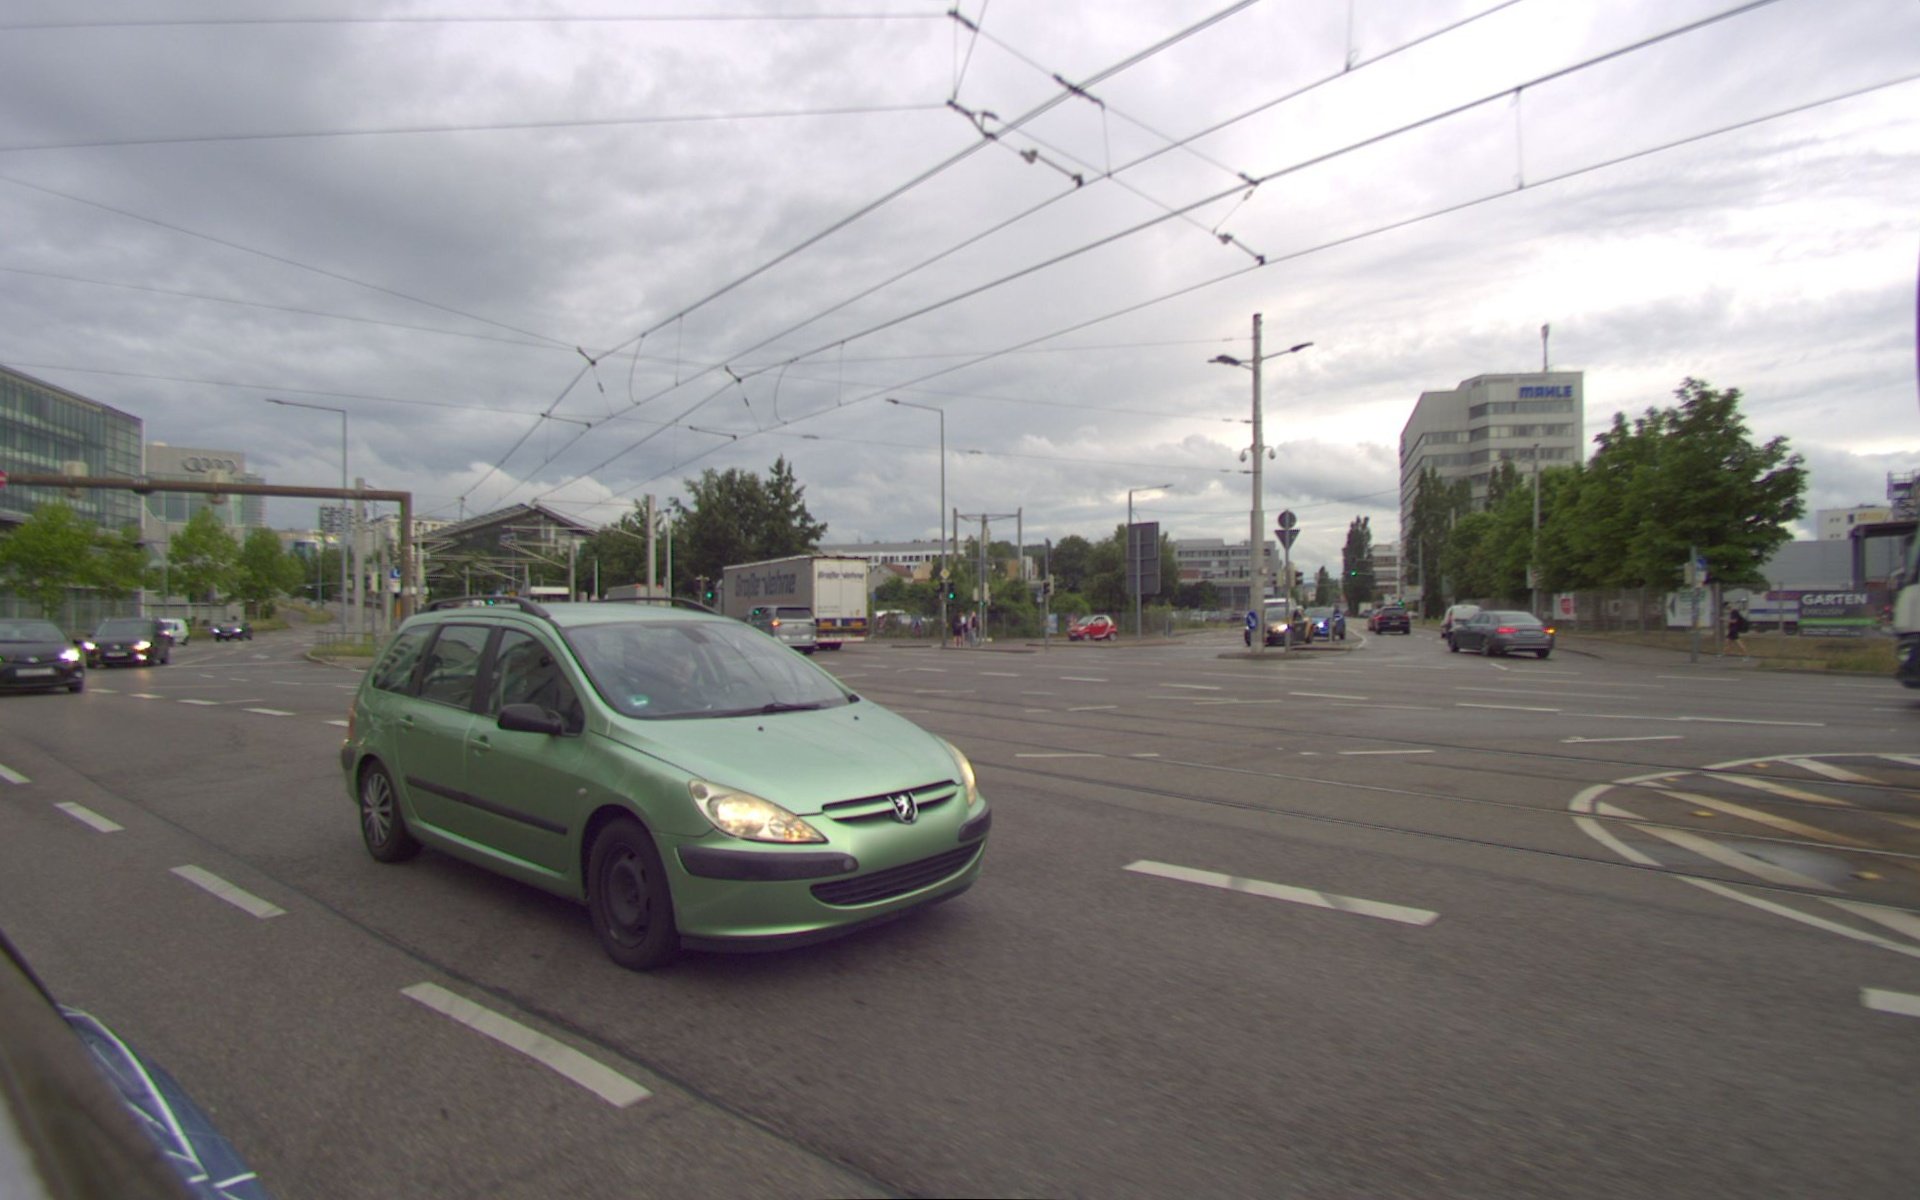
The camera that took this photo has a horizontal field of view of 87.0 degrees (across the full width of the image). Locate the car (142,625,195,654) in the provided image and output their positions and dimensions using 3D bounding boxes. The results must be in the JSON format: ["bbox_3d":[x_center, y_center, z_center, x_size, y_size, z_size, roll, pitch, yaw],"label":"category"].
[{"bbox_3d":[-52.689,2.604,67.432,1.799,1.723,4.167,-2,1,-24],"label":"car"}]

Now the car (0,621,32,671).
[{"bbox_3d":[-30.014,1.412,30.940,1.712,1.489,4.011,-2,0,-33],"label":"car"}]

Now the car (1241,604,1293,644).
[{"bbox_3d":[19.355,1.468,63.670,2.279,2.301,4.701,-2,1,28],"label":"car"}]

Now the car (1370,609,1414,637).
[{"bbox_3d":[25.967,1.373,60.926,1.984,1.621,4.428,-1,-1,18],"label":"car"}]

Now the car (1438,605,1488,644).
[{"bbox_3d":[24.661,1.178,49.725,1.844,1.698,3.972,-2,1,22],"label":"car"}]

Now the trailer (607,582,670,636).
[{"bbox_3d":[-26.457,0.855,82.782,2.755,4.139,11.478,1,-2,-29],"label":"trailer"}]

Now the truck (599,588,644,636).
[{"bbox_3d":[-29.751,1.071,88.837,2.792,4.026,6.005,0,-2,-28],"label":"truck"}]

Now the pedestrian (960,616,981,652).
[{"bbox_3d":[0.494,1.610,48.109,0.716,1.675,0.741,-1,0,-32],"label":"pedestrian"}]

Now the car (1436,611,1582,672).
[{"bbox_3d":[17.198,1.252,32.008,1.972,1.621,4.645,-2,1,0],"label":"car"}]

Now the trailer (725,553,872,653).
[{"bbox_3d":[-8.039,0.217,48.089,2.612,4.156,12.785,1,-1,-29],"label":"trailer"}]

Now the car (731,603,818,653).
[{"bbox_3d":[-7.441,1.130,40.146,1.965,1.851,4.923,0,-2,-28],"label":"car"}]

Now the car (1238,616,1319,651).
[{"bbox_3d":[13.548,1.396,42.983,1.998,1.412,3.948,-2,-1,39],"label":"car"}]

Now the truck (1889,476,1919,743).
[{"bbox_3d":[16.382,0.152,13.651,2.712,3.834,5.418,2,-2,-42],"label":"truck"}]

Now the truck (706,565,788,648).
[{"bbox_3d":[-11.568,0.365,54.500,2.629,4.161,6.205,1,-1,-29],"label":"truck"}]

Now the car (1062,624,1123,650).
[{"bbox_3d":[7.782,2.152,59.465,3.259,1.446,1.459,0,0,-16],"label":"car"}]

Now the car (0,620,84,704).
[{"bbox_3d":[-18.834,1.193,20.031,3.901,1.534,1.675,-2,-2,40],"label":"car"}]

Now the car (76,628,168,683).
[{"bbox_3d":[-27.592,1.769,33.446,1.703,1.604,4.205,-2,0,-31],"label":"car"}]

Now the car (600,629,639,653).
[{"bbox_3d":[-24.980,2.959,74.199,1.877,1.567,4.580,-2,0,-29],"label":"car"}]

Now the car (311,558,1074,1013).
[{"bbox_3d":[-1.711,0.623,5.366,4.400,1.479,1.677,-2,1,41],"label":"car"}]

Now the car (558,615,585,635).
[{"bbox_3d":[-35.540,2.304,92.508,1.860,1.664,4.109,-2,1,-27],"label":"car"}]

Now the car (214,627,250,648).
[{"bbox_3d":[-59.176,2.991,82.299,1.673,1.534,3.838,-1,0,-25],"label":"car"}]

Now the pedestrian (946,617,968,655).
[{"bbox_3d":[-0.149,1.673,47.265,0.716,1.718,0.741,-1,0,-32],"label":"pedestrian"}]
